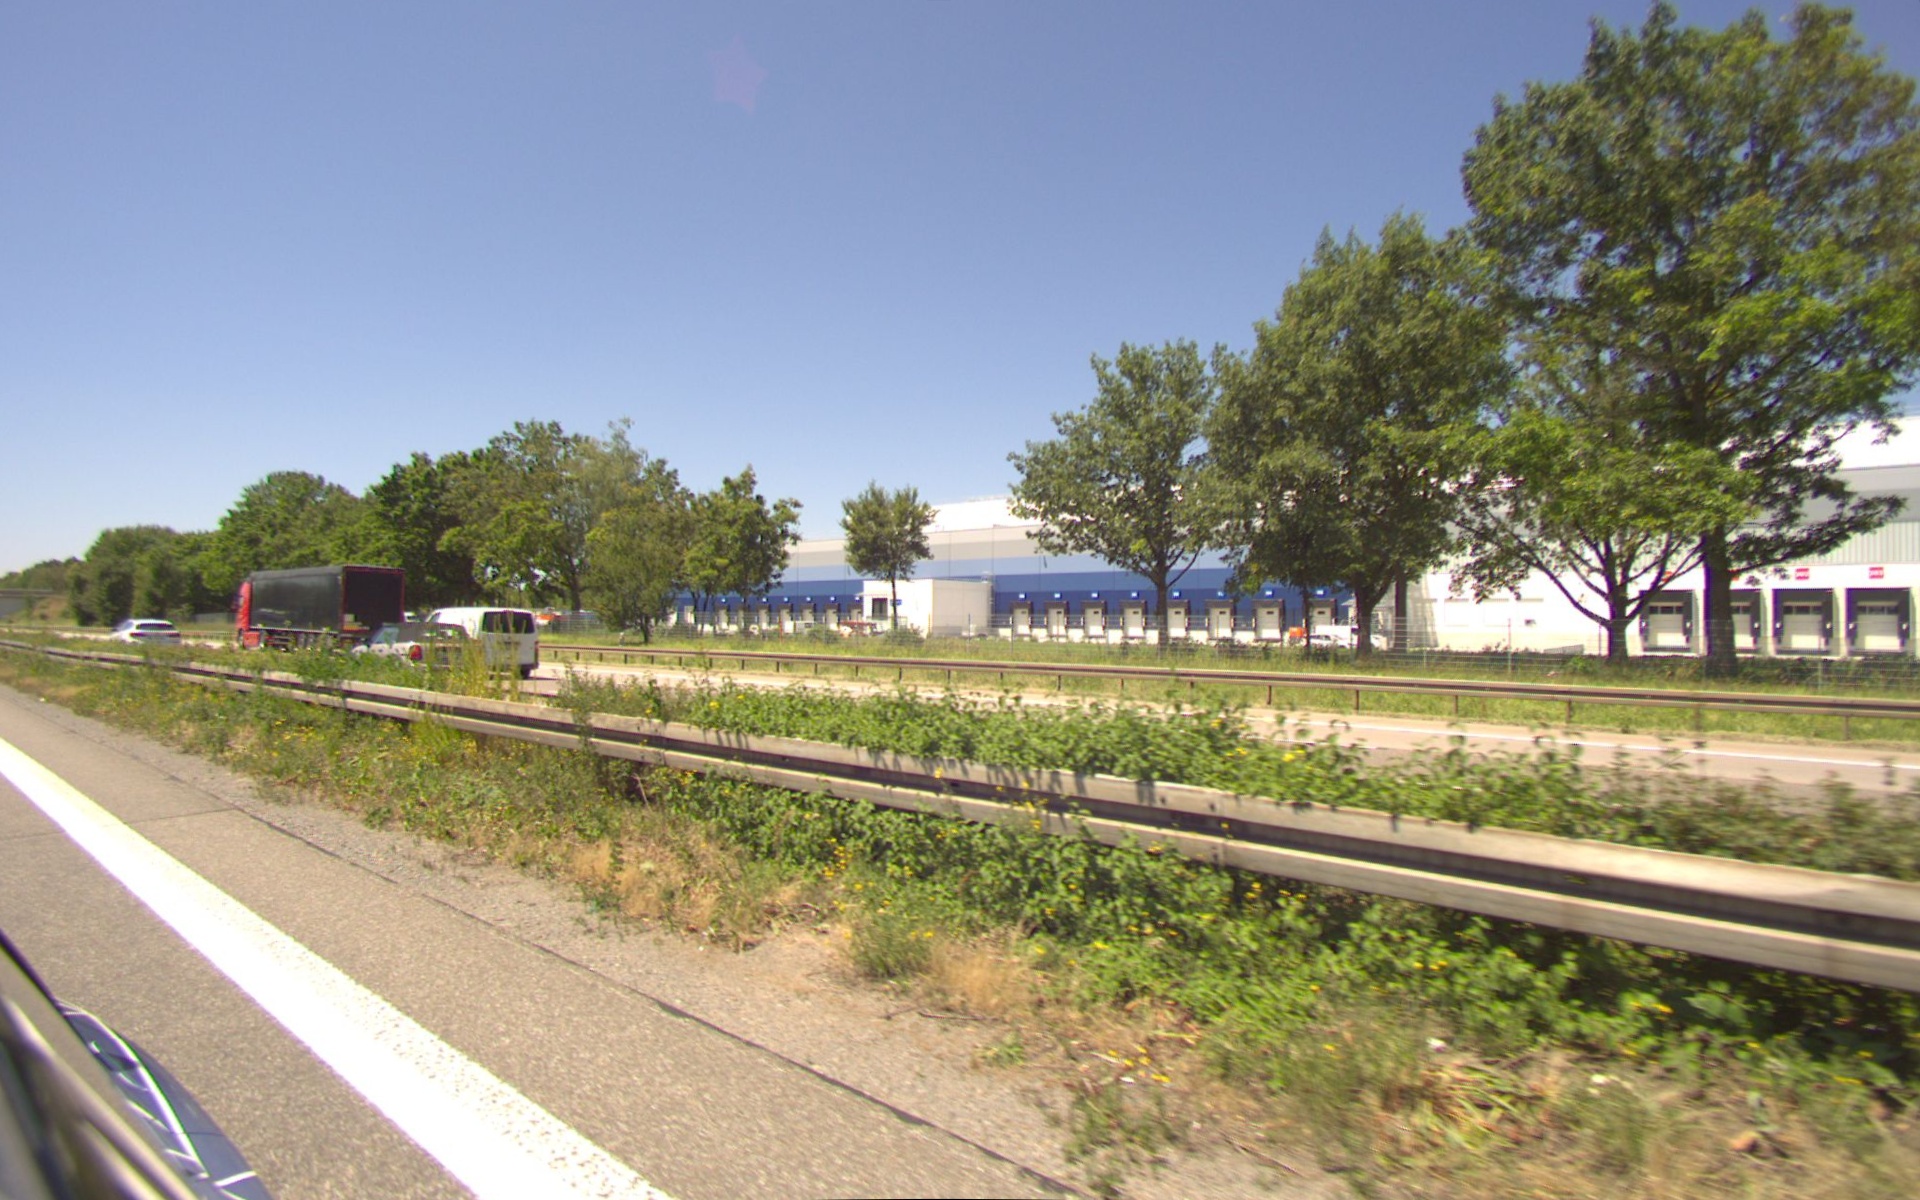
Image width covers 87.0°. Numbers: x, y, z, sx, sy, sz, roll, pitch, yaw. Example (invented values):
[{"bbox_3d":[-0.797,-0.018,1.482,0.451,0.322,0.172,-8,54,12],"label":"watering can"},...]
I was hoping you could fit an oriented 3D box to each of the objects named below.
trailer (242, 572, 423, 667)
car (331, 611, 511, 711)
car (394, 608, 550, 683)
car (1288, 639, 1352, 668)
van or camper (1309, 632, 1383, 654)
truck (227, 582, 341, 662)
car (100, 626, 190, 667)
[{"bbox_3d":[-30.768,1.055,49.128,14.197,4.042,3.411,-2,-4,42],"label":"trailer"},{"bbox_3d":[-11.492,1.252,21.489,3.996,1.927,1.975,-2,-4,40],"label":"car"},{"bbox_3d":[-13.855,1.272,28.594,5.207,1.927,1.975,-2,-4,40],"label":"car"},{"bbox_3d":[26.533,3.941,74.647,3.998,2.029,1.973,-2,-3,41],"label":"car"},{"bbox_3d":[29.947,3.314,78.580,5.018,1.665,1.972,-2,-3,42],"label":"van or camper"},{"bbox_3d":[-35.830,1.232,53.595,6.218,3.961,3.403,-2,-4,41],"label":"truck"},{"bbox_3d":[-32.562,1.844,40.381,4.864,1.540,1.901,-2,-4,41],"label":"car"}]
